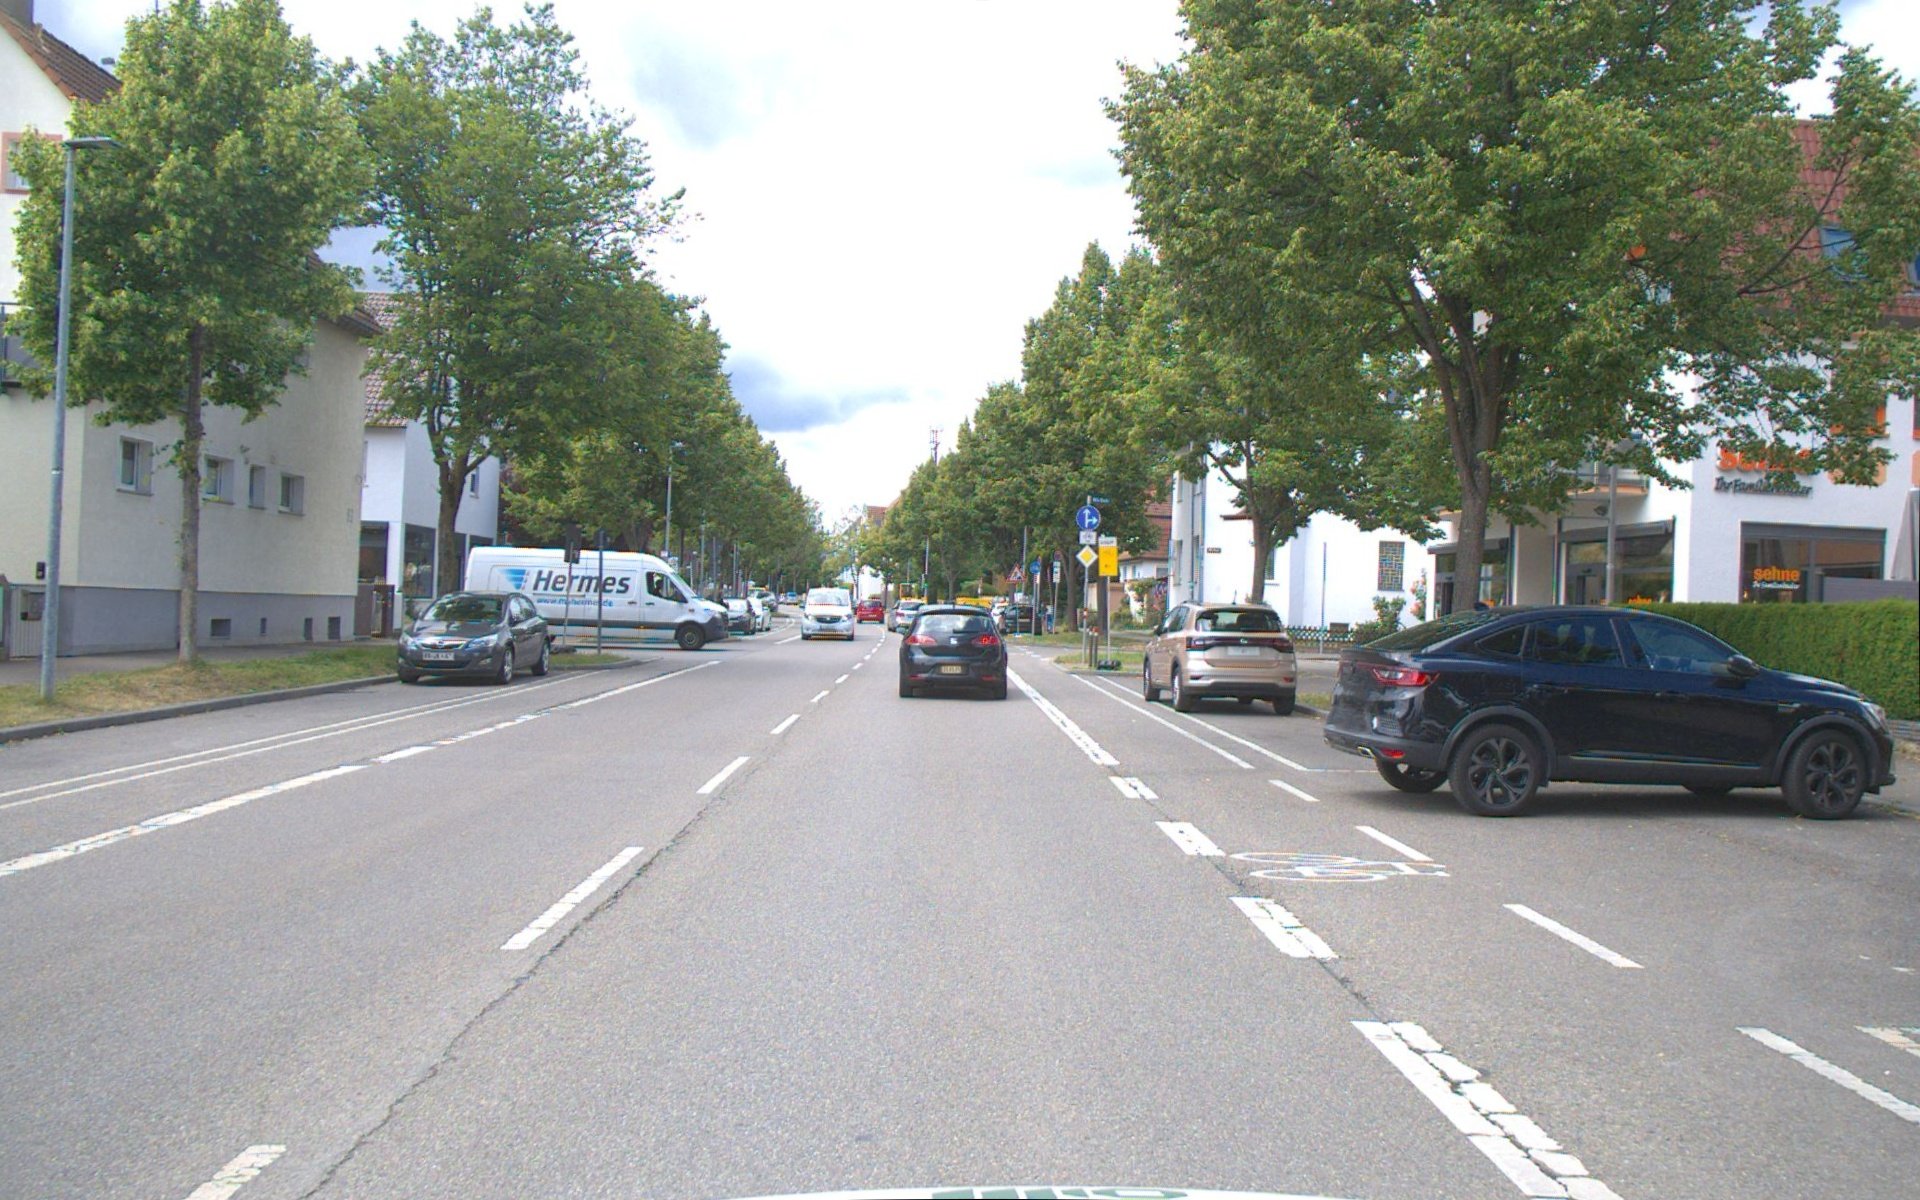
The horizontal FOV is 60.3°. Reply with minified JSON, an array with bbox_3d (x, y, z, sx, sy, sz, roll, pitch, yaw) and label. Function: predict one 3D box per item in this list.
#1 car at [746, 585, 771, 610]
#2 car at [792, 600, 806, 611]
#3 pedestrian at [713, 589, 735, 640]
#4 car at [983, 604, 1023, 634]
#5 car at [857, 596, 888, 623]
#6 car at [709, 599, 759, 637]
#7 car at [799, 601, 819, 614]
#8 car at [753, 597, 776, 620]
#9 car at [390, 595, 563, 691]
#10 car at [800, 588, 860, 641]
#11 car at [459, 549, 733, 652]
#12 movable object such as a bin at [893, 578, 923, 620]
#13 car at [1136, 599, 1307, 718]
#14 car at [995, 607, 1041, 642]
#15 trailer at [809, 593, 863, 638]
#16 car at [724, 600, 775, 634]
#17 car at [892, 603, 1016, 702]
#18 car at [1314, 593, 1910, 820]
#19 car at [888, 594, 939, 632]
[{"bbox_3d":[-18.816,-0.209,154.505,2.054,2.213,5.033,1,0,-10],"label":"car"},{"bbox_3d":[-22.282,0.713,228.338,1.775,1.440,3.687,1,0,-7],"label":"car"},{"bbox_3d":[-8.255,0.499,57.833,0.531,1.710,0.751,3,1,7],"label":"pedestrian"},{"bbox_3d":[2.164,0.948,83.904,1.639,1.488,3.996,1,0,-4],"label":"car"},{"bbox_3d":[-5.449,0.593,102.640,1.756,1.651,3.735,1,0,-6],"label":"car"},{"bbox_3d":[-8.971,0.685,65.908,1.610,1.445,4.018,1,0,-3],"label":"car"},{"bbox_3d":[-17.073,0.818,186.922,1.779,1.440,3.681,2,0,-13],"label":"car"},{"bbox_3d":[-15.647,0.644,132.479,1.636,1.803,4.458,0,0,-9],"label":"car"},{"bbox_3d":[-8.150,0.676,28.245,1.696,1.494,4.301,1,0,0],"label":"car"},{"bbox_3d":[-4.806,0.536,61.749,1.926,1.862,4.817,1,0,-2],"label":"car"},{"bbox_3d":[-10.016,0.026,46.099,7.147,2.640,2.218,1,0,-5],"label":"car"},{"bbox_3d":[-3.337,-0.075,105.975,1.733,2.619,3.737,2,0,-4],"label":"movable object such as a bin"},{"bbox_3d":[3.854,0.819,25.007,1.688,1.608,4.058,1,0,-4],"label":"car"},{"bbox_3d":[2.583,1.064,74.071,1.671,1.480,4.614,1,0,-3],"label":"car"},{"bbox_3d":[-4.932,0.620,66.505,1.899,1.706,4.687,1,0,-2],"label":"trailer"},{"bbox_3d":[-9.236,0.728,72.919,1.679,1.431,4.300,1,0,0],"label":"car"},{"bbox_3d":[-0.164,0.801,26.967,1.783,1.463,3.737,1,0,-4],"label":"car"},{"bbox_3d":[5.102,0.795,13.198,4.137,1.666,1.691,0,0,-7],"label":"car"},{"bbox_3d":[-2.206,0.585,77.673,1.871,1.715,3.730,1,0,-11],"label":"car"}]
